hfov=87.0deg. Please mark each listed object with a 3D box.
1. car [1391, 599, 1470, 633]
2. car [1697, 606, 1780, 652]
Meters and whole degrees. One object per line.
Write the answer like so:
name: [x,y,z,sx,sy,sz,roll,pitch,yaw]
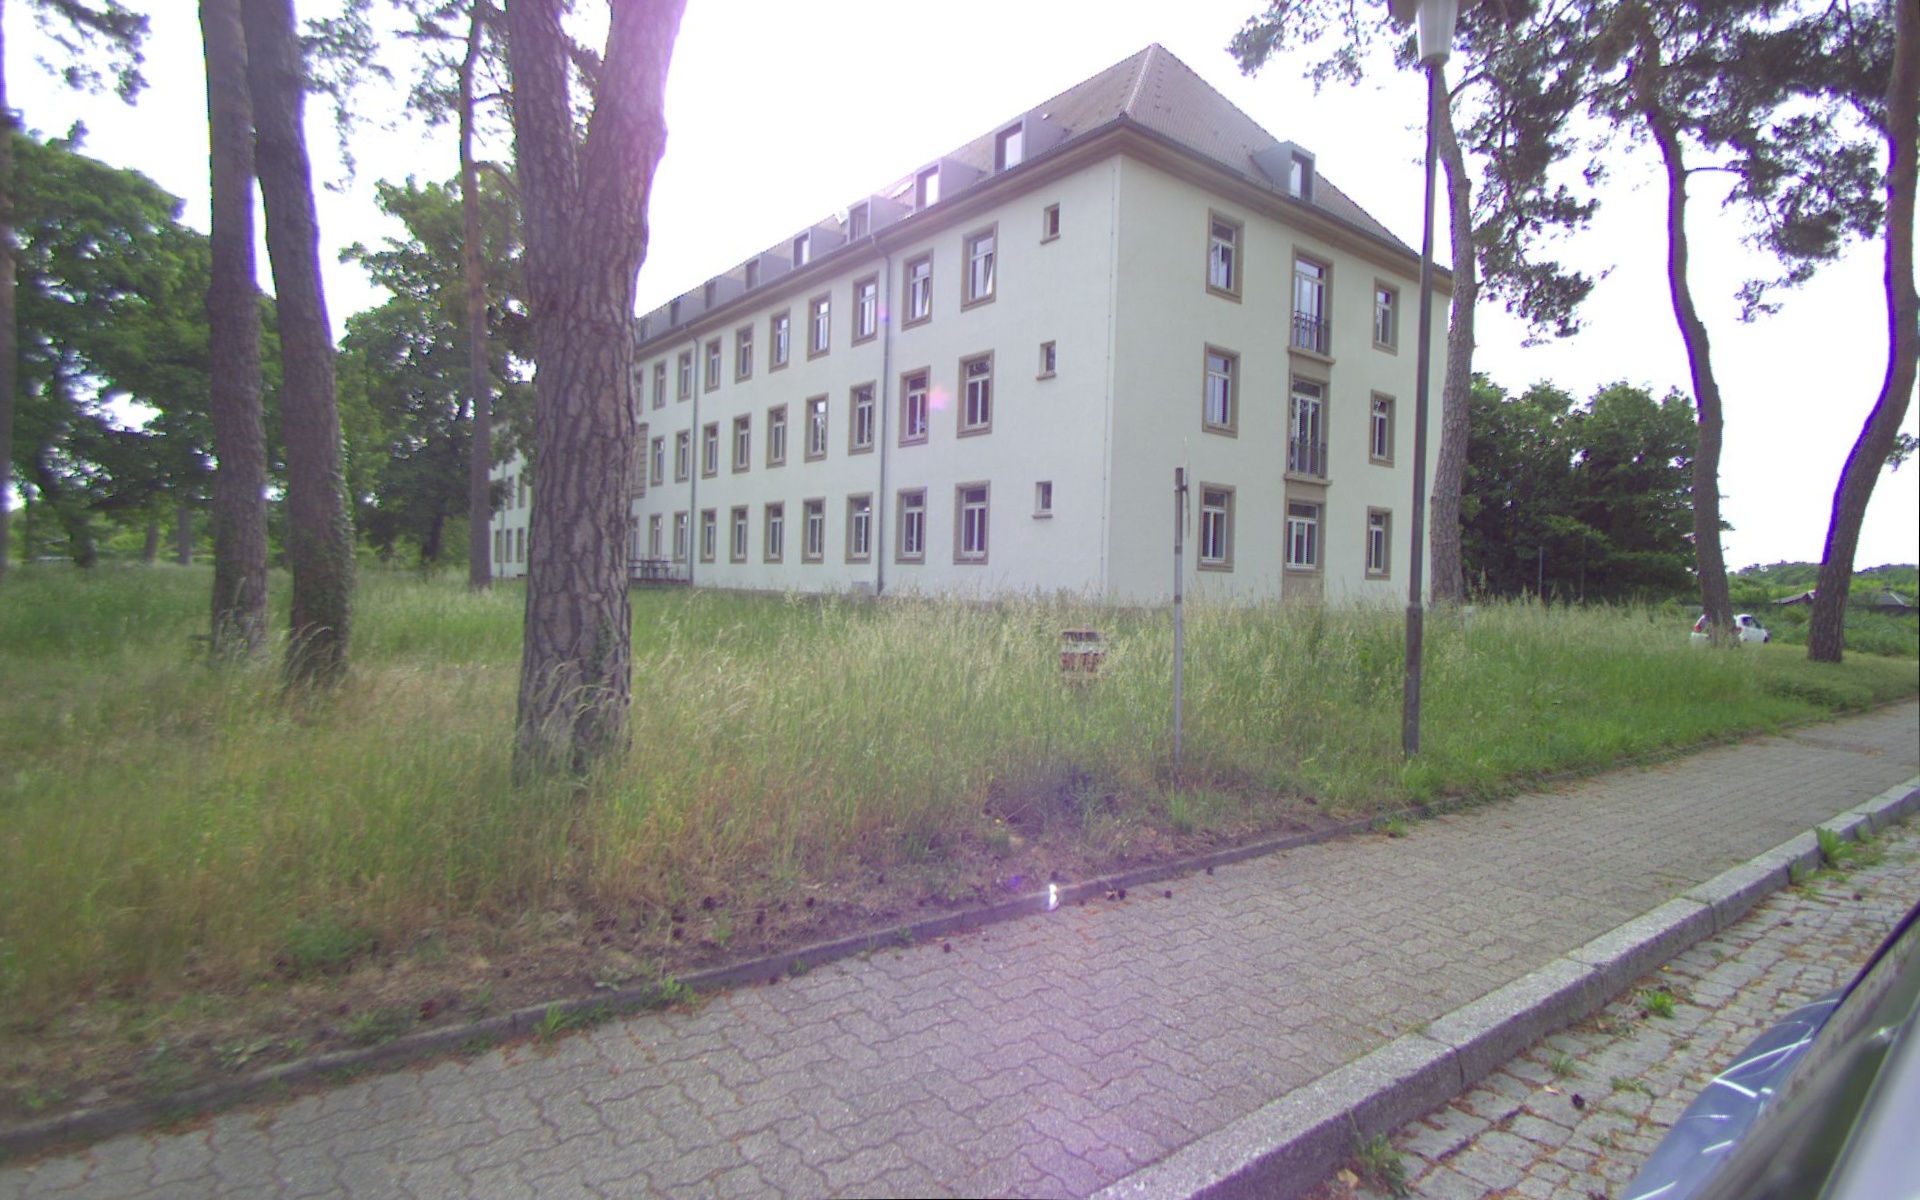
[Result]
car: [21.194,0.683,45.579,3.928,1.345,1.641,-1,2,-38]
car: [28.318,1.002,36.805,3.219,1.452,1.641,-2,3,-38]
